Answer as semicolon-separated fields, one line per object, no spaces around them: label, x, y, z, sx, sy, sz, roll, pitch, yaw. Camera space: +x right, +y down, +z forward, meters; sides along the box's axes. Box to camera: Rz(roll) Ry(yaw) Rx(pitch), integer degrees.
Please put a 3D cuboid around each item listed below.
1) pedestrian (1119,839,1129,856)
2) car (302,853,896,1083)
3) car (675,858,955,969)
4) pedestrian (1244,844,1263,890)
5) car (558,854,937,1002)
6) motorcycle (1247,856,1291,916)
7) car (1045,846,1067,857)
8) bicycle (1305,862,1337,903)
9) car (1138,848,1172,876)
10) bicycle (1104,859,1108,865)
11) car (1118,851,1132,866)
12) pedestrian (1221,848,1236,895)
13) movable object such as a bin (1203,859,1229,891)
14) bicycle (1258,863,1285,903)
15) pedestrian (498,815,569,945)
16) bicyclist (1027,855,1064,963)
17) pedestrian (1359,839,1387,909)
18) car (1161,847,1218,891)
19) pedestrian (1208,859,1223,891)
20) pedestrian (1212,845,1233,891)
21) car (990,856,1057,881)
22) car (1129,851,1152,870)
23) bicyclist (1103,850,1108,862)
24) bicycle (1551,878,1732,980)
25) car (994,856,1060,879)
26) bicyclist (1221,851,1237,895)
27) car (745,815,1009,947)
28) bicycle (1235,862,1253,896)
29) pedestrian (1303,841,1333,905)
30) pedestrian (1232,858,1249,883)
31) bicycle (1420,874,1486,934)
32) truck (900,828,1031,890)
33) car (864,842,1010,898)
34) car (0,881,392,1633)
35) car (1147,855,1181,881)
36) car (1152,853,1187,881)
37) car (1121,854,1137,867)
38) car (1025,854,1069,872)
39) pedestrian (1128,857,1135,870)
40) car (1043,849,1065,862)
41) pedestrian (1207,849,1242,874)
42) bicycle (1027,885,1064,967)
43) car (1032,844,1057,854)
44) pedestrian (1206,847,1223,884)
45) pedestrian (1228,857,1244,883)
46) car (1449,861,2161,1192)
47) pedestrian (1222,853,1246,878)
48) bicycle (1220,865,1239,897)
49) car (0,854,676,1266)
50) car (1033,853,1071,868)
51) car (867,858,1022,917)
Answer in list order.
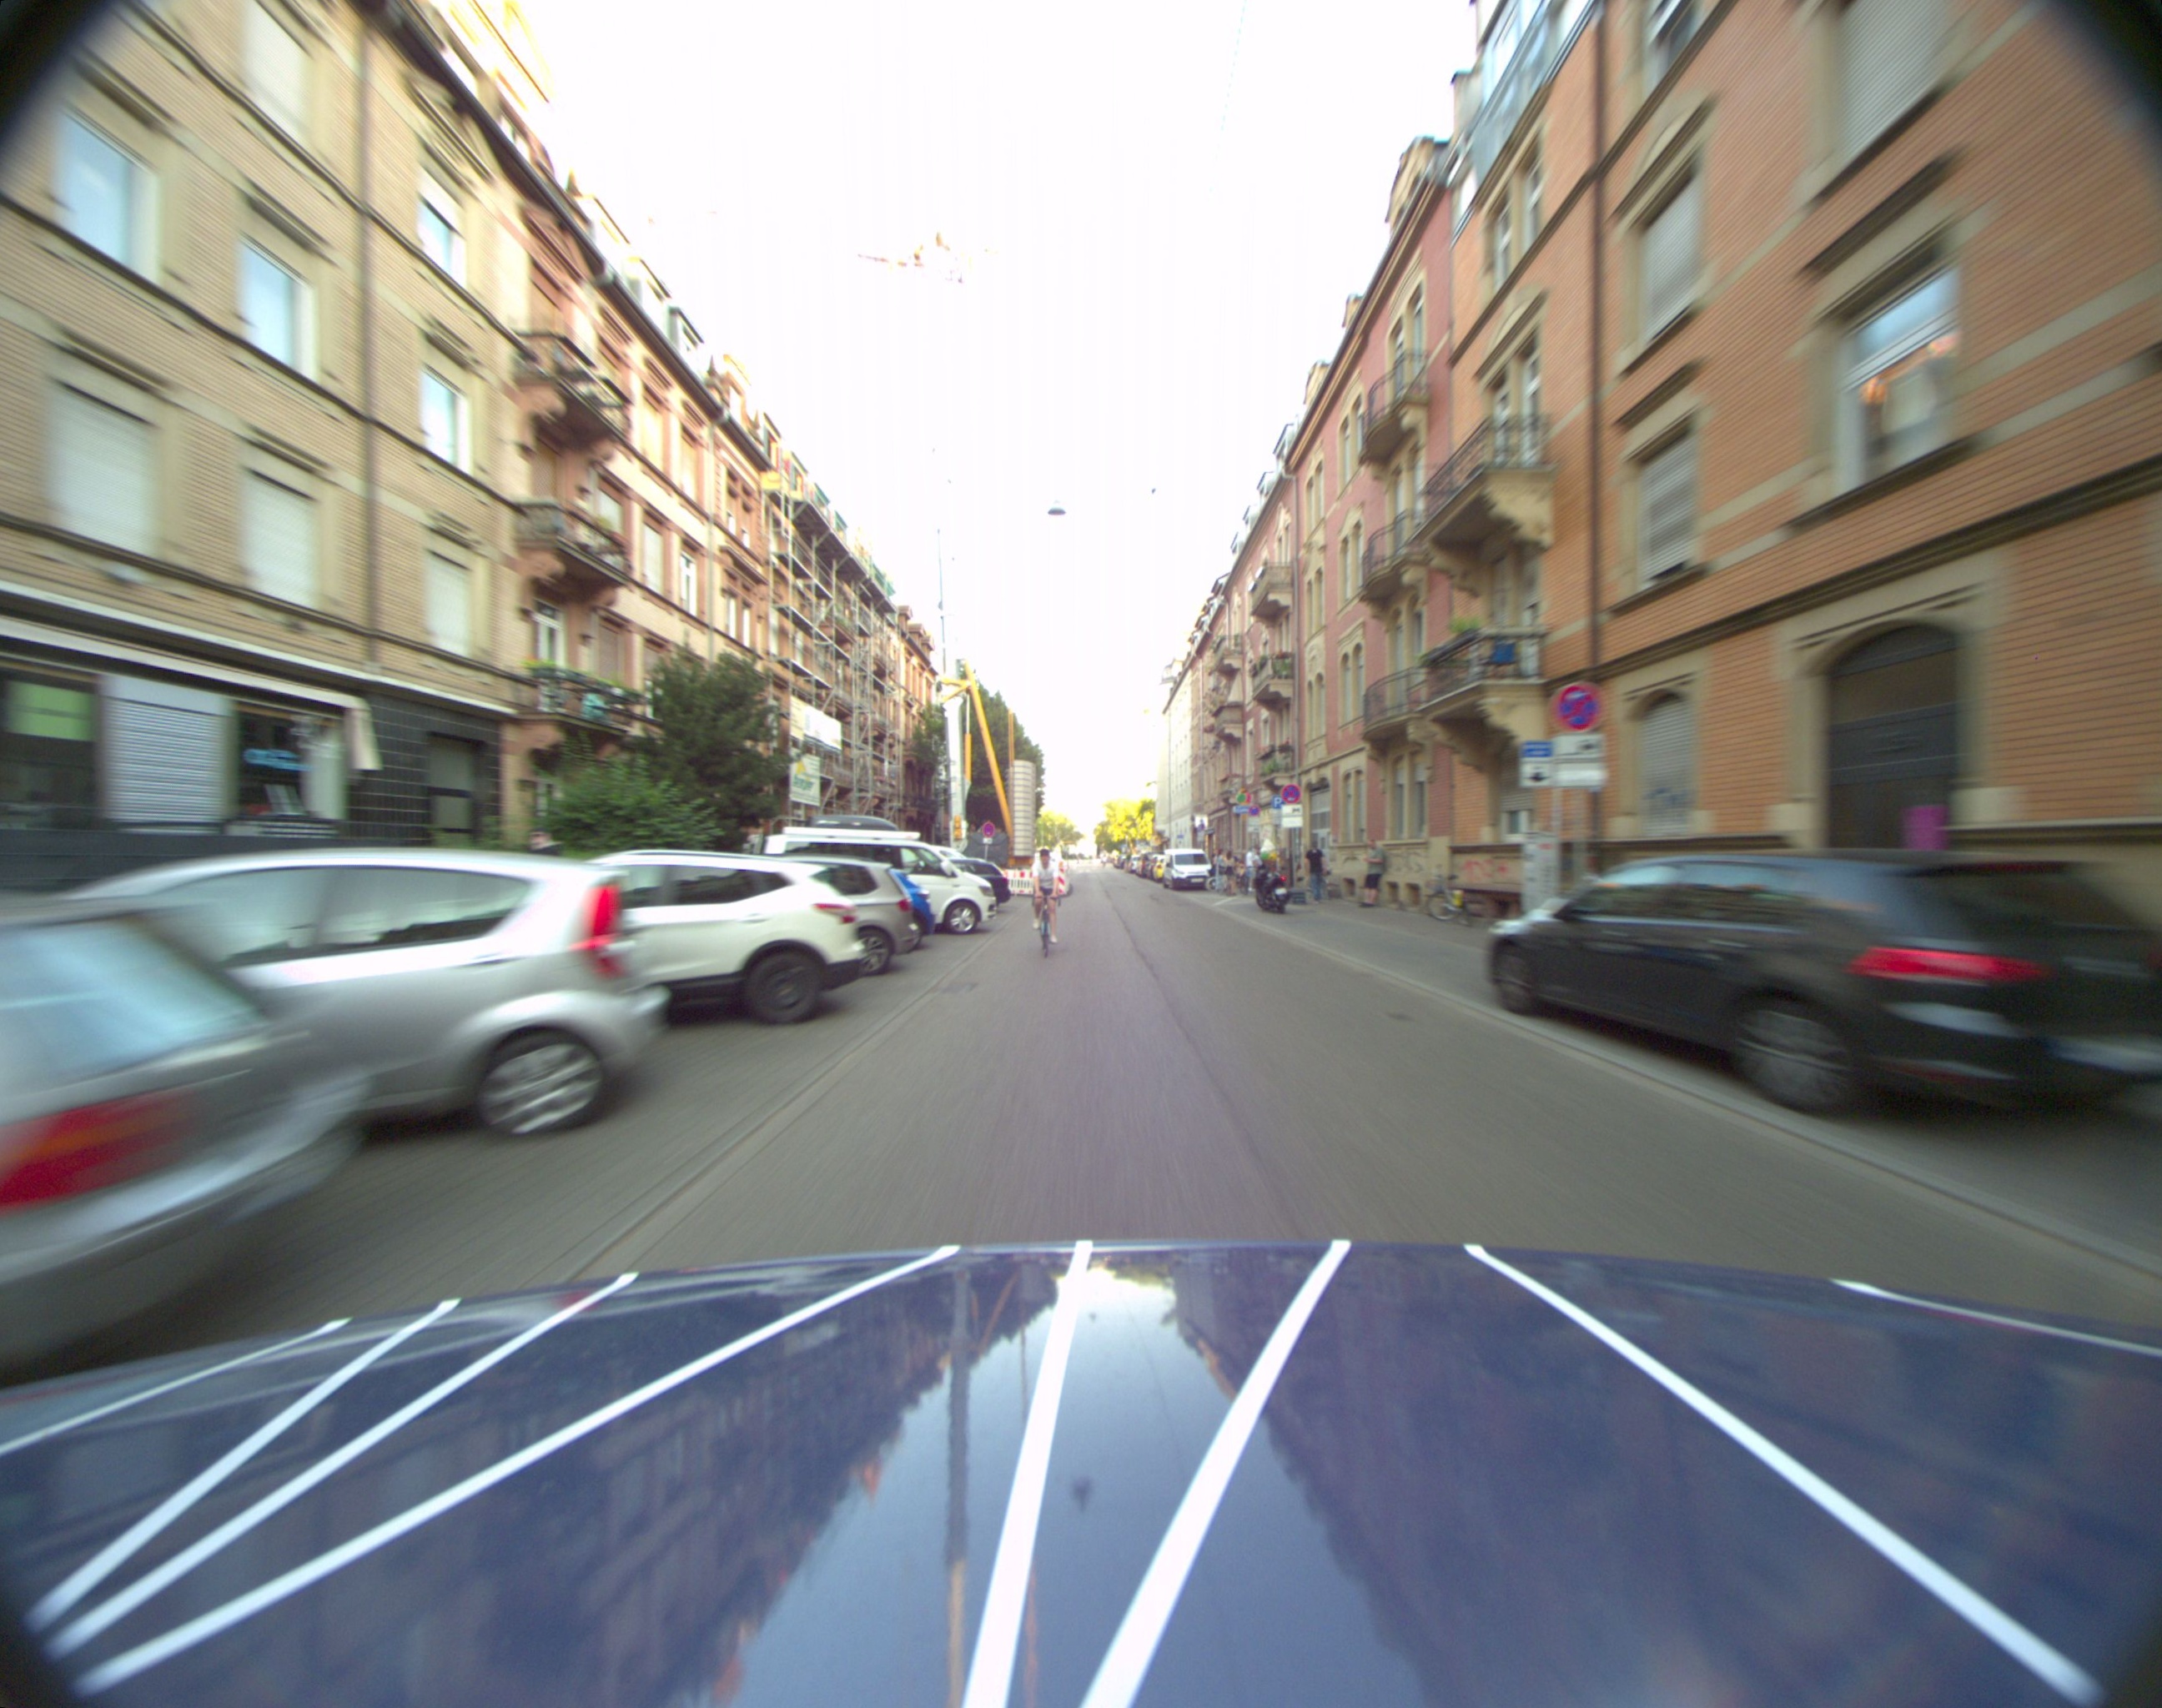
pedestrian;7.060;-1.042;124.773;1.445;2.725;1.012;-2;1;0
car;-4.042;0.865;7.084;4.116;1.581;1.814;2;-1;-30
car;-4.401;0.866;12.673;4.173;1.581;1.881;0;0;-28
pedestrian;6.890;0.518;30.351;0.598;1.803;0.721;-1;1;19
car;-4.238;0.873;10.007;4.174;1.581;1.881;2;-1;-30
motorcycle;4.735;0.778;19.244;0.686;1.397;2.014;-2;1;3
car;-5.287;-0.487;159.516;4.201;2.246;1.673;2;1;-34
bicycle;7.363;0.846;23.378;0.412;1.153;1.838;-2;1;2
car;5.184;0.570;53.947;1.932;1.872;4.905;-1;0;0
bicycle;3.710;1.189;113.625;0.477;0.938;1.896;-2;1;0
car;5.723;0.569;99.421;1.785;1.860;4.457;-2;1;2
pedestrian;5.446;0.631;27.981;0.419;1.699;0.350;-2;1;-4
movable object such as a bin;5.532;0.856;31.155;0.889;1.244;0.776;-2;1;1
bicycle;5.951;0.887;23.758;0.412;1.153;1.838;-2;1;2
pedestrian;-7.681;0.351;10.689;0.688;1.740;0.824;1;1;-28
bicyclist;-0.590;0.882;12.470;0.529;1.694;0.789;-2;1;-3
pedestrian;7.520;0.501;19.593;0.464;1.779;0.642;-2;1;4
car;4.757;0.614;33.955;1.775;1.778;4.586;-1;1;-1
pedestrian;5.539;0.856;31.203;0.479;1.244;0.652;-2;1;1
pedestrian;5.659;0.556;30.475;0.600;1.803;0.720;-2;1;-8
car;-3.700;0.949;49.375;4.003;1.479;1.680;2;0;-33
car;5.350;0.577;68.506;1.730;1.638;3.916;-2;0;1
bicyclist;3.682;0.294;113.449;0.624;1.682;1.003;-2;1;0
bicycle;7.290;0.924;10.044;0.752;1.095;2.024;-2;1;-6
car;-3.703;0.933;52.361;4.179;1.479;1.826;2;0;-35
bicyclist;5.345;0.690;27.513;0.466;1.581;0.487;-2;1;4
car;-4.155;0.497;15.541;4.945;2.348;1.996;0;0;-25
bicycle;6.006;0.885;28.025;0.466;1.148;2.001;-2;1;8
pedestrian;6.865;0.544;22.048;0.683;1.800;0.962;-2;1;10
pedestrian;7.458;0.786;35.590;0.633;1.133;0.573;-2;1;-1
bicycle;7.213;0.936;14.814;0.449;1.024;1.740;-2;1;2
truck;-6.187;0.246;41.317;6.495;3.059;2.525;-2;1;4
car;-5.445;0.605;29.167;5.186;1.944;1.899;2;-1;0
car;-4.349;0.841;1.492;4.116;1.542;1.814;2;-1;-31
car;5.267;0.844;48.651;1.932;1.587;3.970;-1;0;2
car;5.089;0.730;44.102;1.709;1.521;3.793;-1;0;2
car;5.965;0.777;94.440;1.785;1.537;4.000;-2;1;2
car;-3.249;0.889;72.350;3.841;1.556;1.673;2;1;-29
pedestrian;4.892;0.914;73.384;0.571;1.315;0.496;-2;1;0
car;-5.350;0.314;151.083;4.202;2.279;1.673;2;1;-38
pedestrian;7.115;0.355;37.612;1.565;1.196;0.641;-2;1;-1
bicycle;-0.585;1.134;12.524;0.520;1.148;1.782;-2;1;-3
car;-6.004;-0.821;124.841;3.841;1.510;1.674;2;1;-28
pedestrian;6.311;0.520;35.893;0.619;1.720;0.586;-1;1;29
pedestrian;7.450;0.764;36.449;0.620;1.244;0.585;-2;1;-1
car;4.684;0.820;5.621;1.842;1.462;4.172;-1;0;-1
pedestrian;7.440;0.550;37.034;1.041;1.196;0.503;-2;1;-1
bicycle;5.342;0.972;27.377;0.466;1.062;1.520;-2;1;4
car;-4.558;0.832;3.880;4.118;1.581;1.813;3;-1;-37
car;-3.149;0.674;83.150;3.842;1.510;1.673;2;1;-32
car;-3.793;0.883;21.096;3.873;1.507;1.844;0;0;-25
